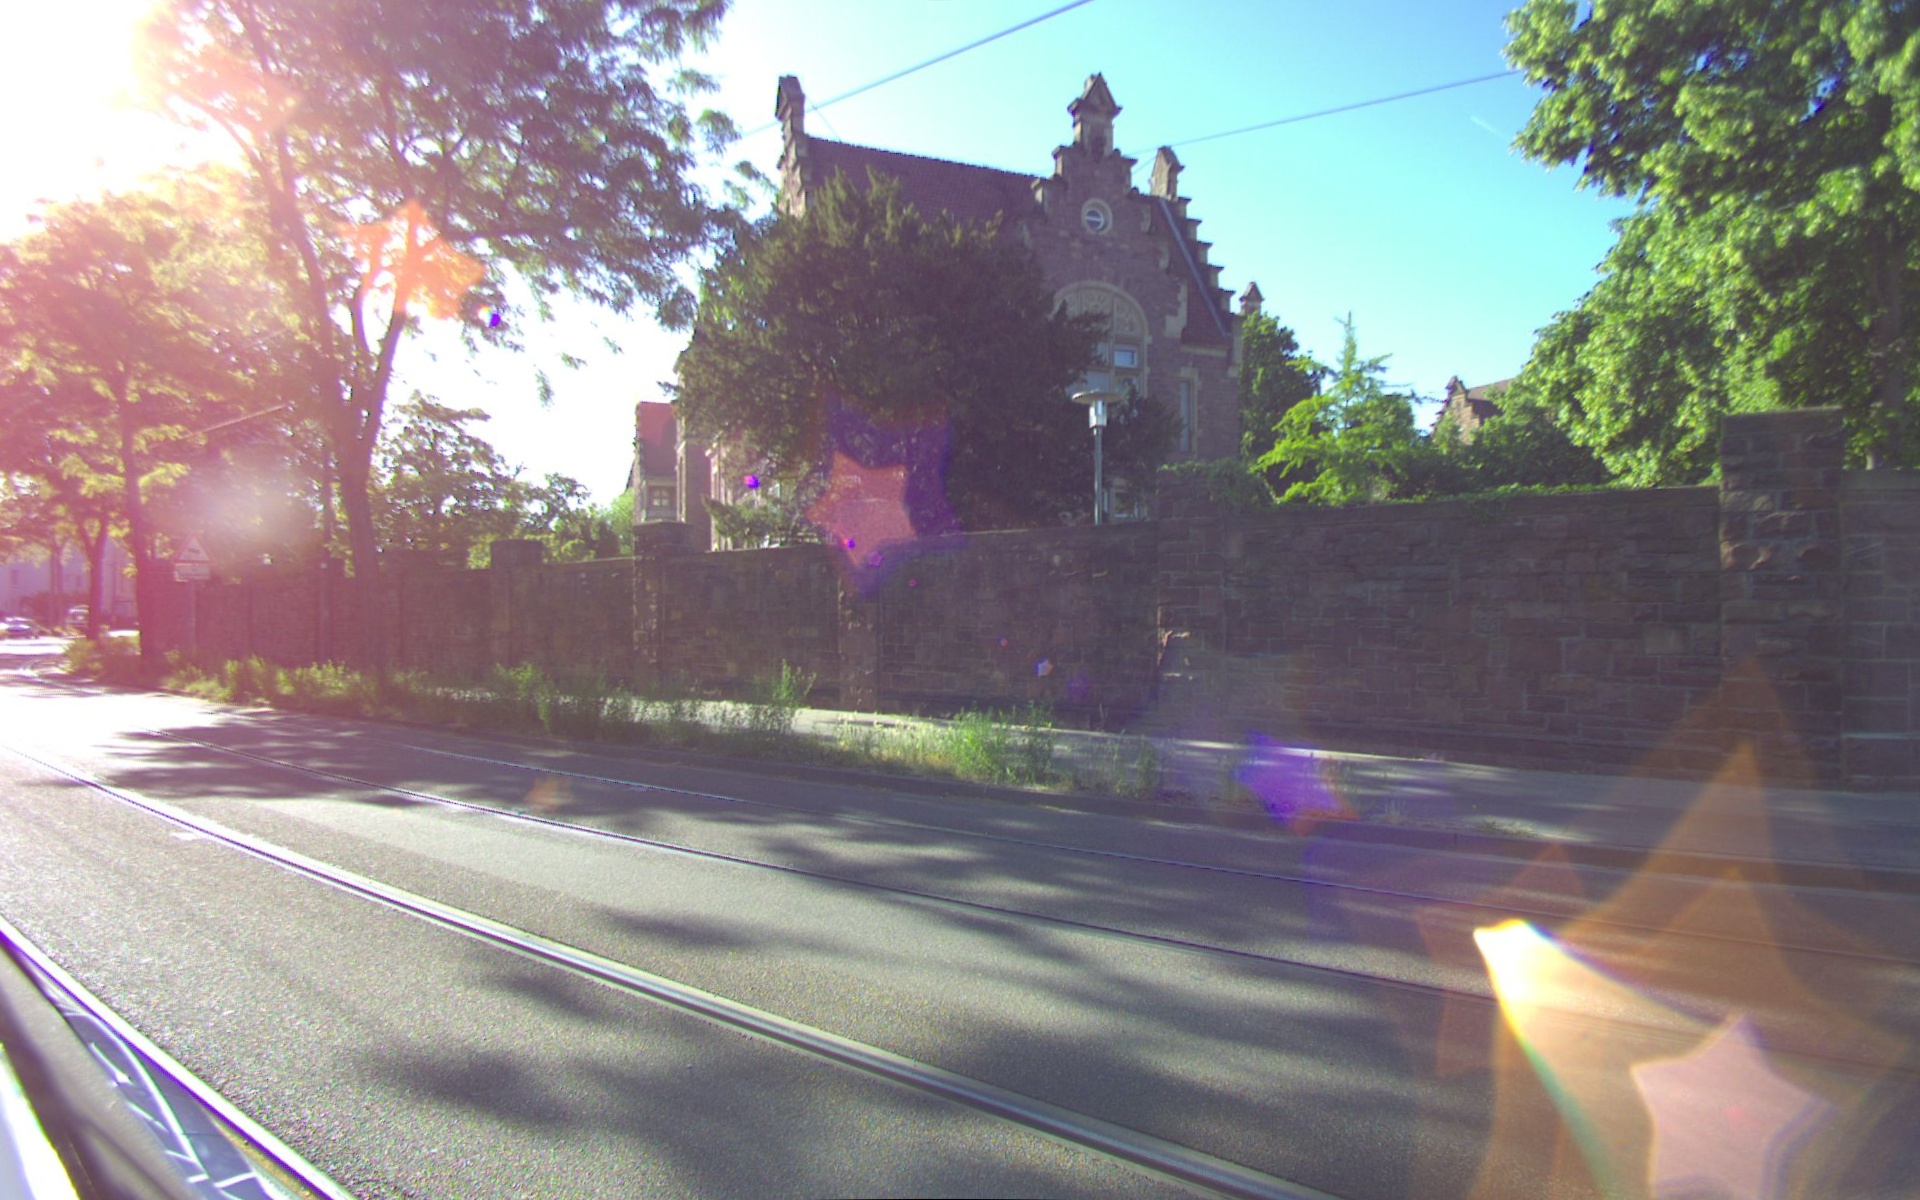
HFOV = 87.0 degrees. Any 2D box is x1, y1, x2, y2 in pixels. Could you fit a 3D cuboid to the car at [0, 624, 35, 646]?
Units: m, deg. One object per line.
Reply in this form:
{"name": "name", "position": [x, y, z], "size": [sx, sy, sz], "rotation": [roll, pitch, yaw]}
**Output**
{"name": "car", "position": [-68.895, 2.519, 73.849], "size": [1.969, 1.560, 4.005], "rotation": [0, -1, -41]}
